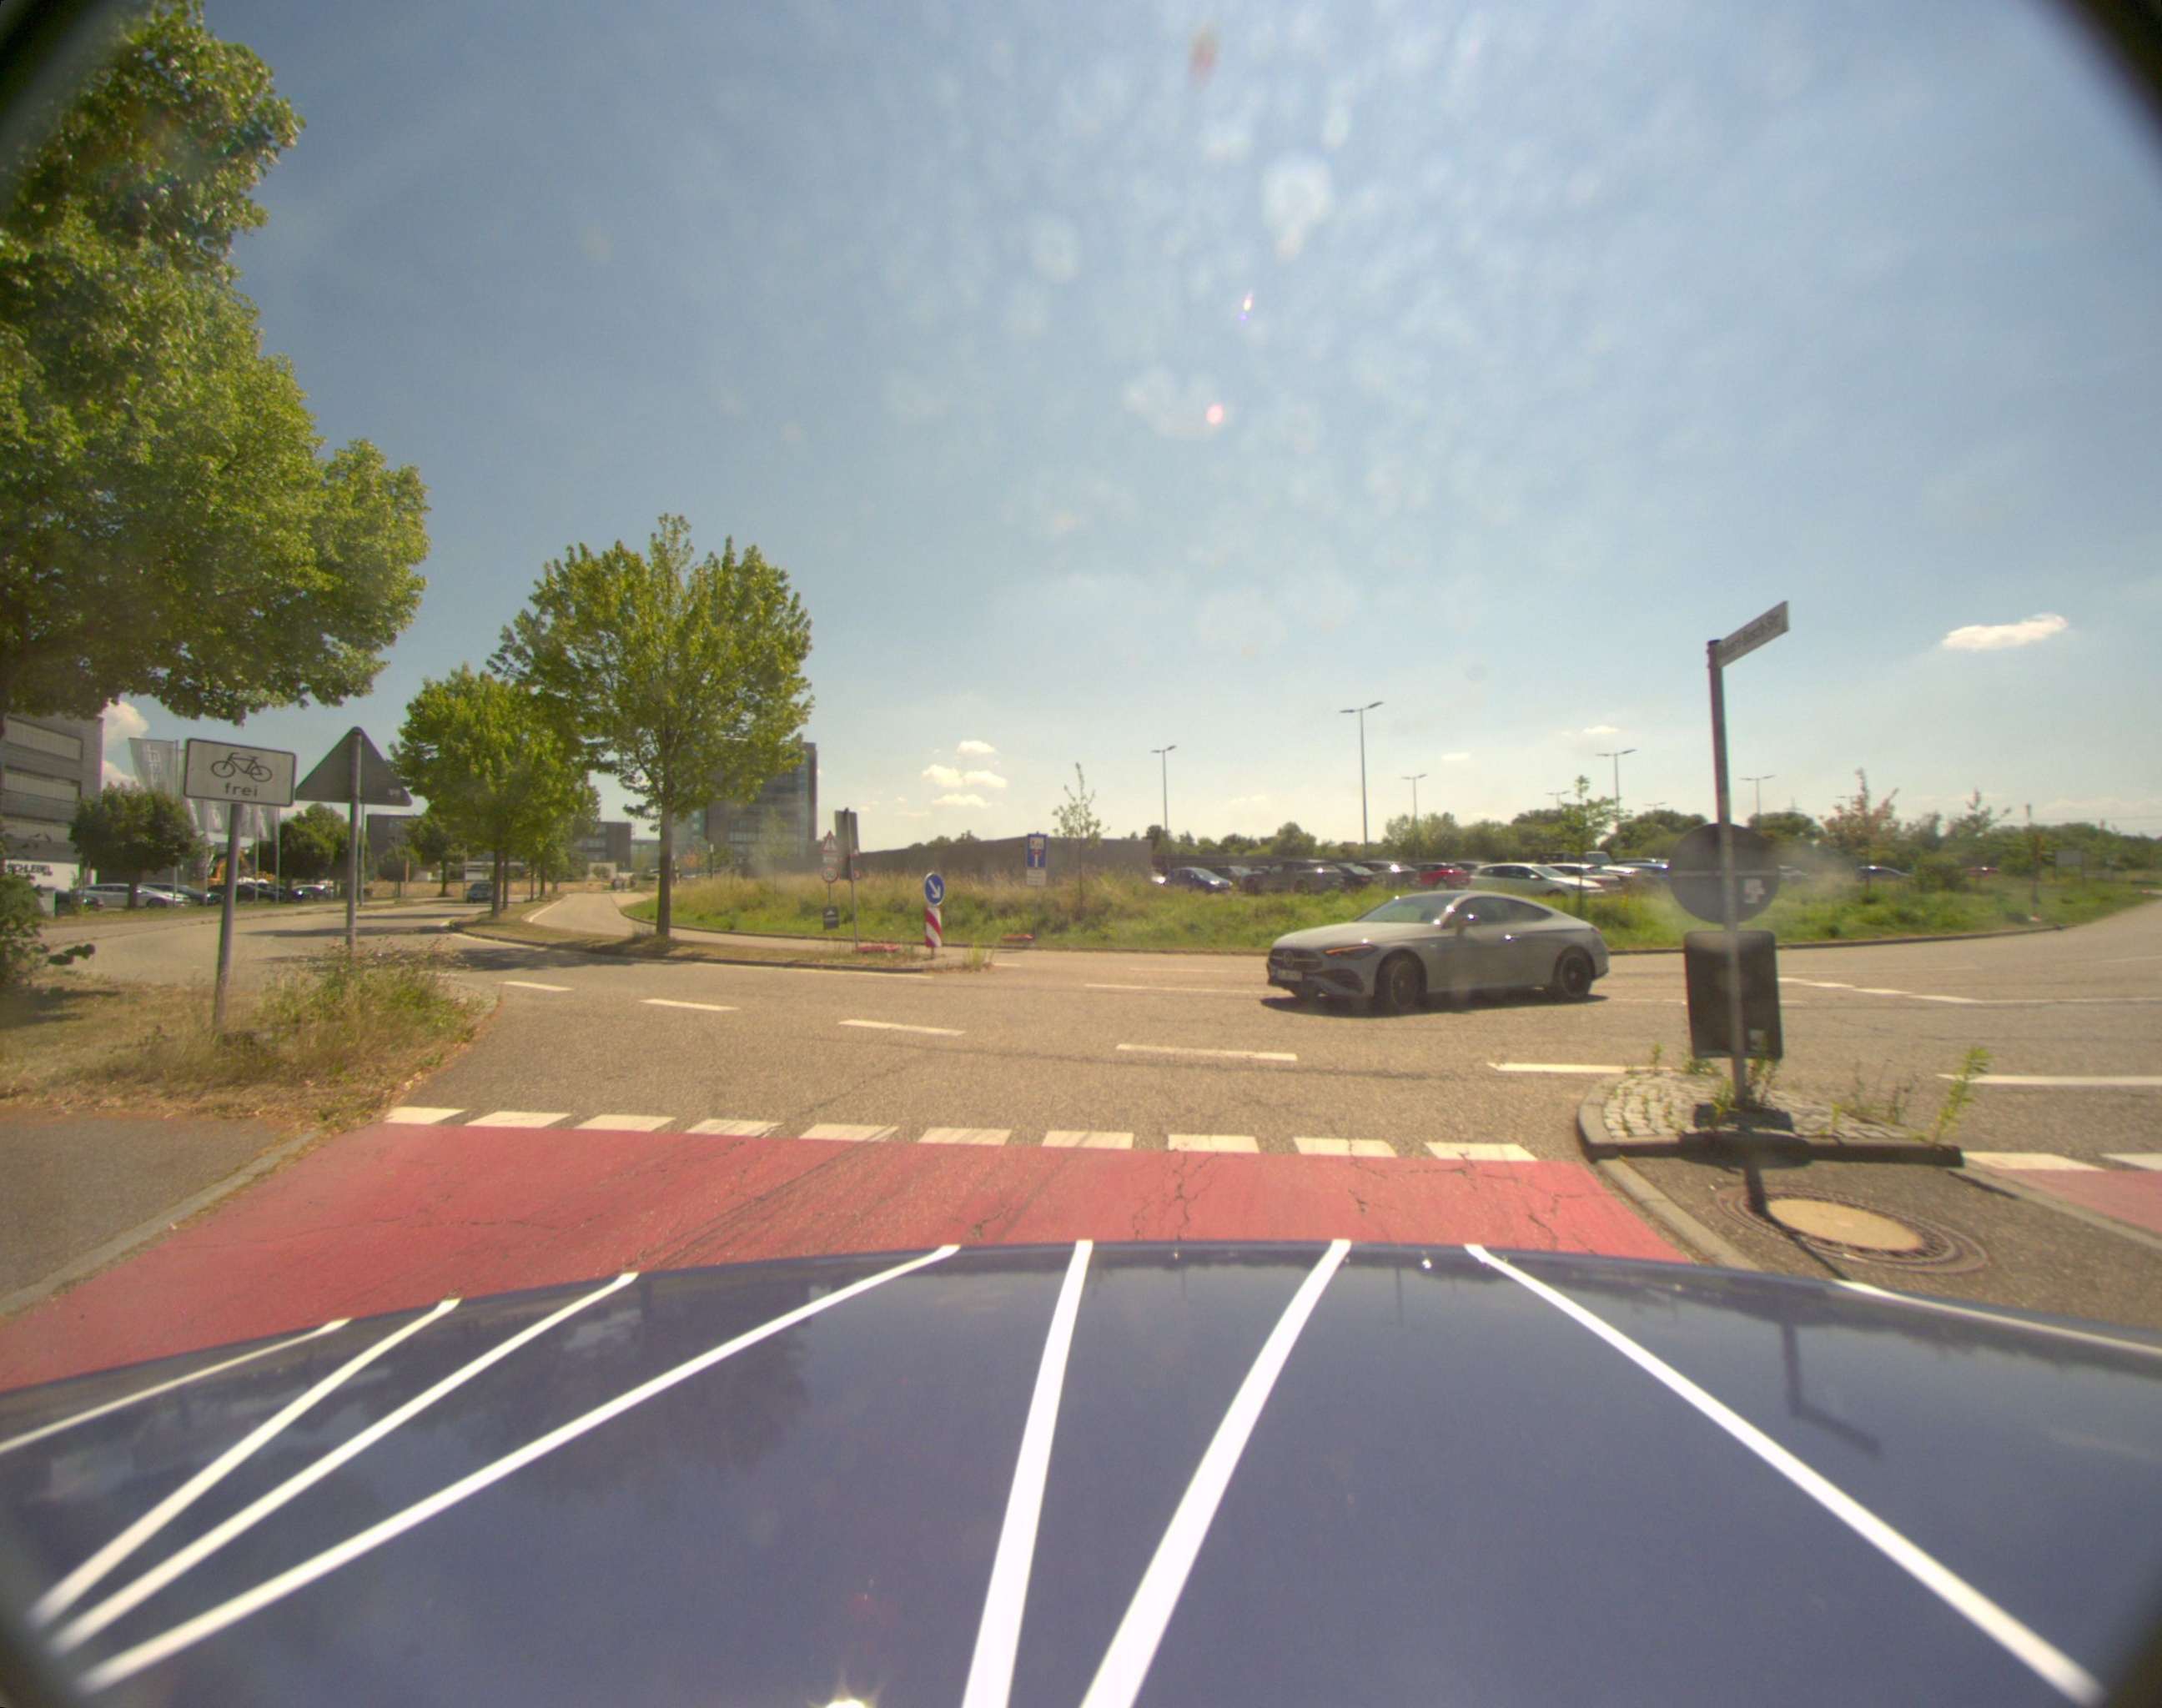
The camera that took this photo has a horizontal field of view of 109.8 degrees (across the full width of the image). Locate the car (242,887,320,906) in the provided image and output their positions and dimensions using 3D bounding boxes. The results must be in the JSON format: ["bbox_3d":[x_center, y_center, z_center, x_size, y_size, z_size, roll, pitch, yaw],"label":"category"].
[{"bbox_3d":[-62.248,3.281,59.225,3.899,1.266,1.701,0,-1,-33],"label":"car"}]

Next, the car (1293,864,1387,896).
[{"bbox_3d":[11.795,1.171,34.814,1.656,1.354,3.839,-1,0,-34],"label":"car"}]

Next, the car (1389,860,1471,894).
[{"bbox_3d":[17.830,1.189,38.888,1.525,1.564,3.413,-1,-3,-36],"label":"car"}]

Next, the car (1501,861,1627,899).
[{"bbox_3d":[16.376,0.891,25.887,1.504,1.175,3.263,-2,-1,-33],"label":"car"}]

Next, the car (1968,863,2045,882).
[{"bbox_3d":[78.593,1.585,64.583,1.650,1.342,3.991,-1,-3,-37],"label":"car"}]

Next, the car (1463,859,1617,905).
[{"bbox_3d":[14.481,0.900,24.177,1.577,1.289,3.869,-2,-1,-32],"label":"car"}]

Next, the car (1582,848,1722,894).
[{"bbox_3d":[22.642,0.722,30.278,1.690,1.420,4.033,-1,-6,-35],"label":"car"}]

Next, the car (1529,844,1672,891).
[{"bbox_3d":[18.556,0.517,27.324,1.879,1.518,3.741,-2,-1,-28],"label":"car"}]

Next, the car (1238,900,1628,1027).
[{"bbox_3d":[4.577,1.303,9.965,4.638,1.374,1.896,2,-3,-20],"label":"car"}]

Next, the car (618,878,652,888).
[{"bbox_3d":[-59.287,3.862,100.999,3.851,1.266,1.605,0,-1,-33],"label":"car"}]

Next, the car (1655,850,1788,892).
[{"bbox_3d":[25.985,0.674,30.948,1.620,1.614,3.840,0,-1,-35],"label":"car"}]

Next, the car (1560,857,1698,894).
[{"bbox_3d":[20.766,0.842,28.939,1.588,1.250,3.938,-2,-1,-36],"label":"car"}]

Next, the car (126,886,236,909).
[{"bbox_3d":[-53.803,2.596,45.521,3.899,1.175,1.701,0,-1,-33],"label":"car"}]

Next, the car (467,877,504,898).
[{"bbox_3d":[-45.997,2.612,58.719,1.682,1.495,3.567,-2,-3,-29],"label":"car"}]

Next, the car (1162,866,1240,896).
[{"bbox_3d":[5.962,1.332,38.029,1.656,1.437,3.630,0,-1,-40],"label":"car"}]

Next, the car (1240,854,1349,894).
[{"bbox_3d":[9.439,0.944,33.922,1.781,1.679,4.594,1,-3,-34],"label":"car"}]

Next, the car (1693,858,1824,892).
[{"bbox_3d":[30.474,0.971,34.294,1.912,1.283,3.992,-1,-3,-32],"label":"car"}]

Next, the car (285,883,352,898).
[{"bbox_3d":[-68.068,3.239,67.905,3.899,1.266,1.701,0,-1,-33],"label":"car"}]

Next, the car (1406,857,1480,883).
[{"bbox_3d":[22.060,0.952,46.400,1.772,1.490,3.630,0,0,-34],"label":"car"}]

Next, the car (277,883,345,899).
[{"bbox_3d":[-66.902,3.210,66.111,3.899,1.266,1.701,0,-1,-33],"label":"car"}]

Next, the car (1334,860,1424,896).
[{"bbox_3d":[14.211,1.108,36.353,1.772,1.588,3.630,0,0,-34],"label":"car"}]

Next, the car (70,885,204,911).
[{"bbox_3d":[-50.885,2.343,41.062,4.284,1.175,1.491,-1,-3,-34],"label":"car"}]

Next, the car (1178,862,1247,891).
[{"bbox_3d":[7.154,1.196,41.560,1.601,1.490,3.630,0,-1,-34],"label":"car"}]
